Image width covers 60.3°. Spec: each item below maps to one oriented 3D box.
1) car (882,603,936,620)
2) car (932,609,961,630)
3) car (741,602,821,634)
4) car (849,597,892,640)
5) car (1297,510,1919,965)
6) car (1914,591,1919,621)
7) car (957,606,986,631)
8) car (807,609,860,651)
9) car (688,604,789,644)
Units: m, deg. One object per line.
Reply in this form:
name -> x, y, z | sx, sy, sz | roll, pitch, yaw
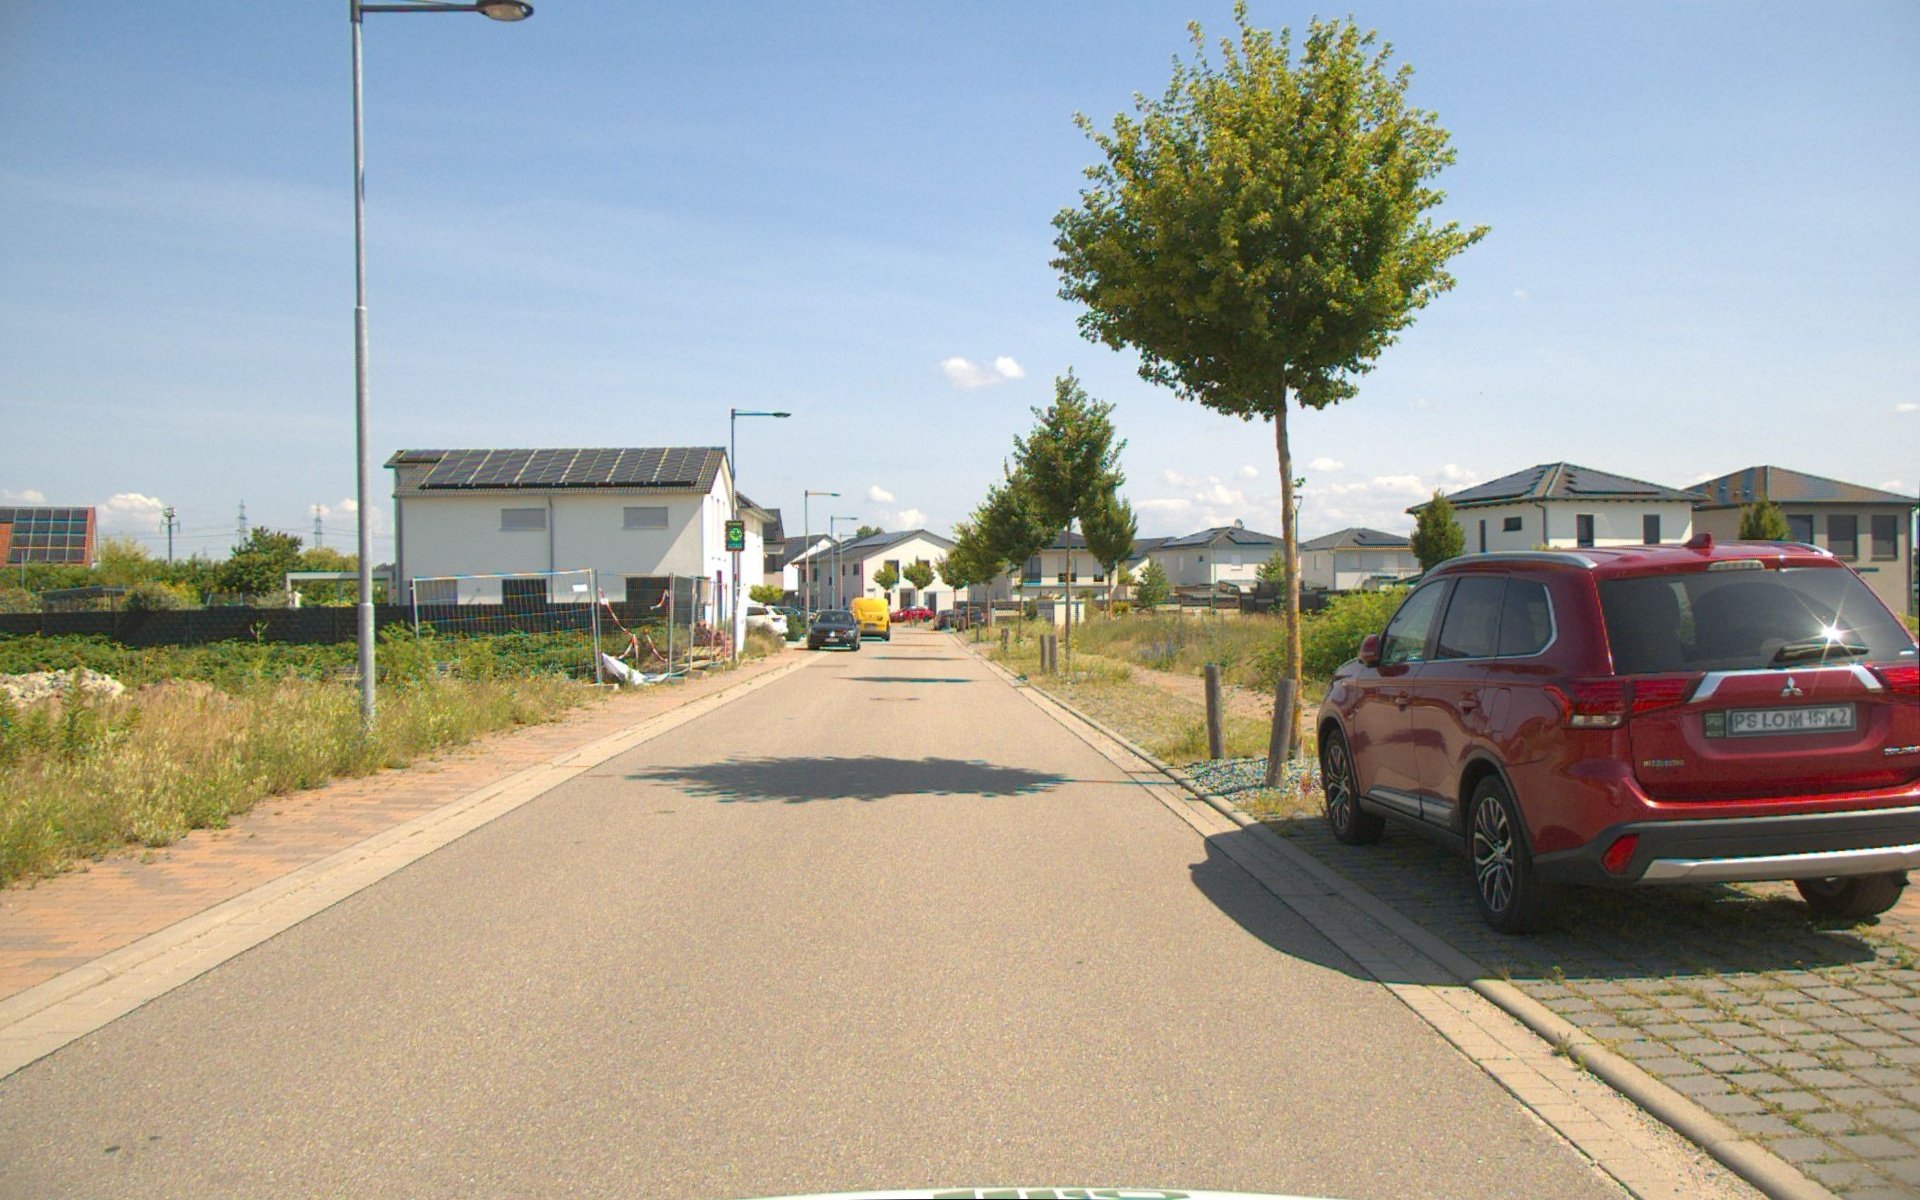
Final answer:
car -> -4.642, 1.088, 151.143 | 4.640, 1.457, 1.978 | 1, -2, -32
car -> -0.967, 1.408, 119.140 | 1.597, 1.346, 3.826 | -1, -2, -8
car -> -9.845, 0.994, 90.923 | 4.095, 1.531, 1.806 | 4, -2, -18
car -> -4.358, 0.919, 80.352 | 1.904, 2.016, 4.212 | -1, -1, -5
car -> 3.169, 0.507, 8.576 | 1.741, 1.692, 4.432 | -2, 0, -2
car -> 47.098, 0.239, 77.627 | 3.921, 1.423, 1.743 | -1, -1, -16
car -> 0.680, 1.151, 100.574 | 1.606, 1.427, 3.808 | -1, -2, -3
car -> -4.580, 1.059, 60.216 | 1.710, 1.429, 4.158 | 1, 0, -2
car -> -9.411, 1.015, 70.556 | 3.983, 1.609, 1.785 | 1, 0, 4
